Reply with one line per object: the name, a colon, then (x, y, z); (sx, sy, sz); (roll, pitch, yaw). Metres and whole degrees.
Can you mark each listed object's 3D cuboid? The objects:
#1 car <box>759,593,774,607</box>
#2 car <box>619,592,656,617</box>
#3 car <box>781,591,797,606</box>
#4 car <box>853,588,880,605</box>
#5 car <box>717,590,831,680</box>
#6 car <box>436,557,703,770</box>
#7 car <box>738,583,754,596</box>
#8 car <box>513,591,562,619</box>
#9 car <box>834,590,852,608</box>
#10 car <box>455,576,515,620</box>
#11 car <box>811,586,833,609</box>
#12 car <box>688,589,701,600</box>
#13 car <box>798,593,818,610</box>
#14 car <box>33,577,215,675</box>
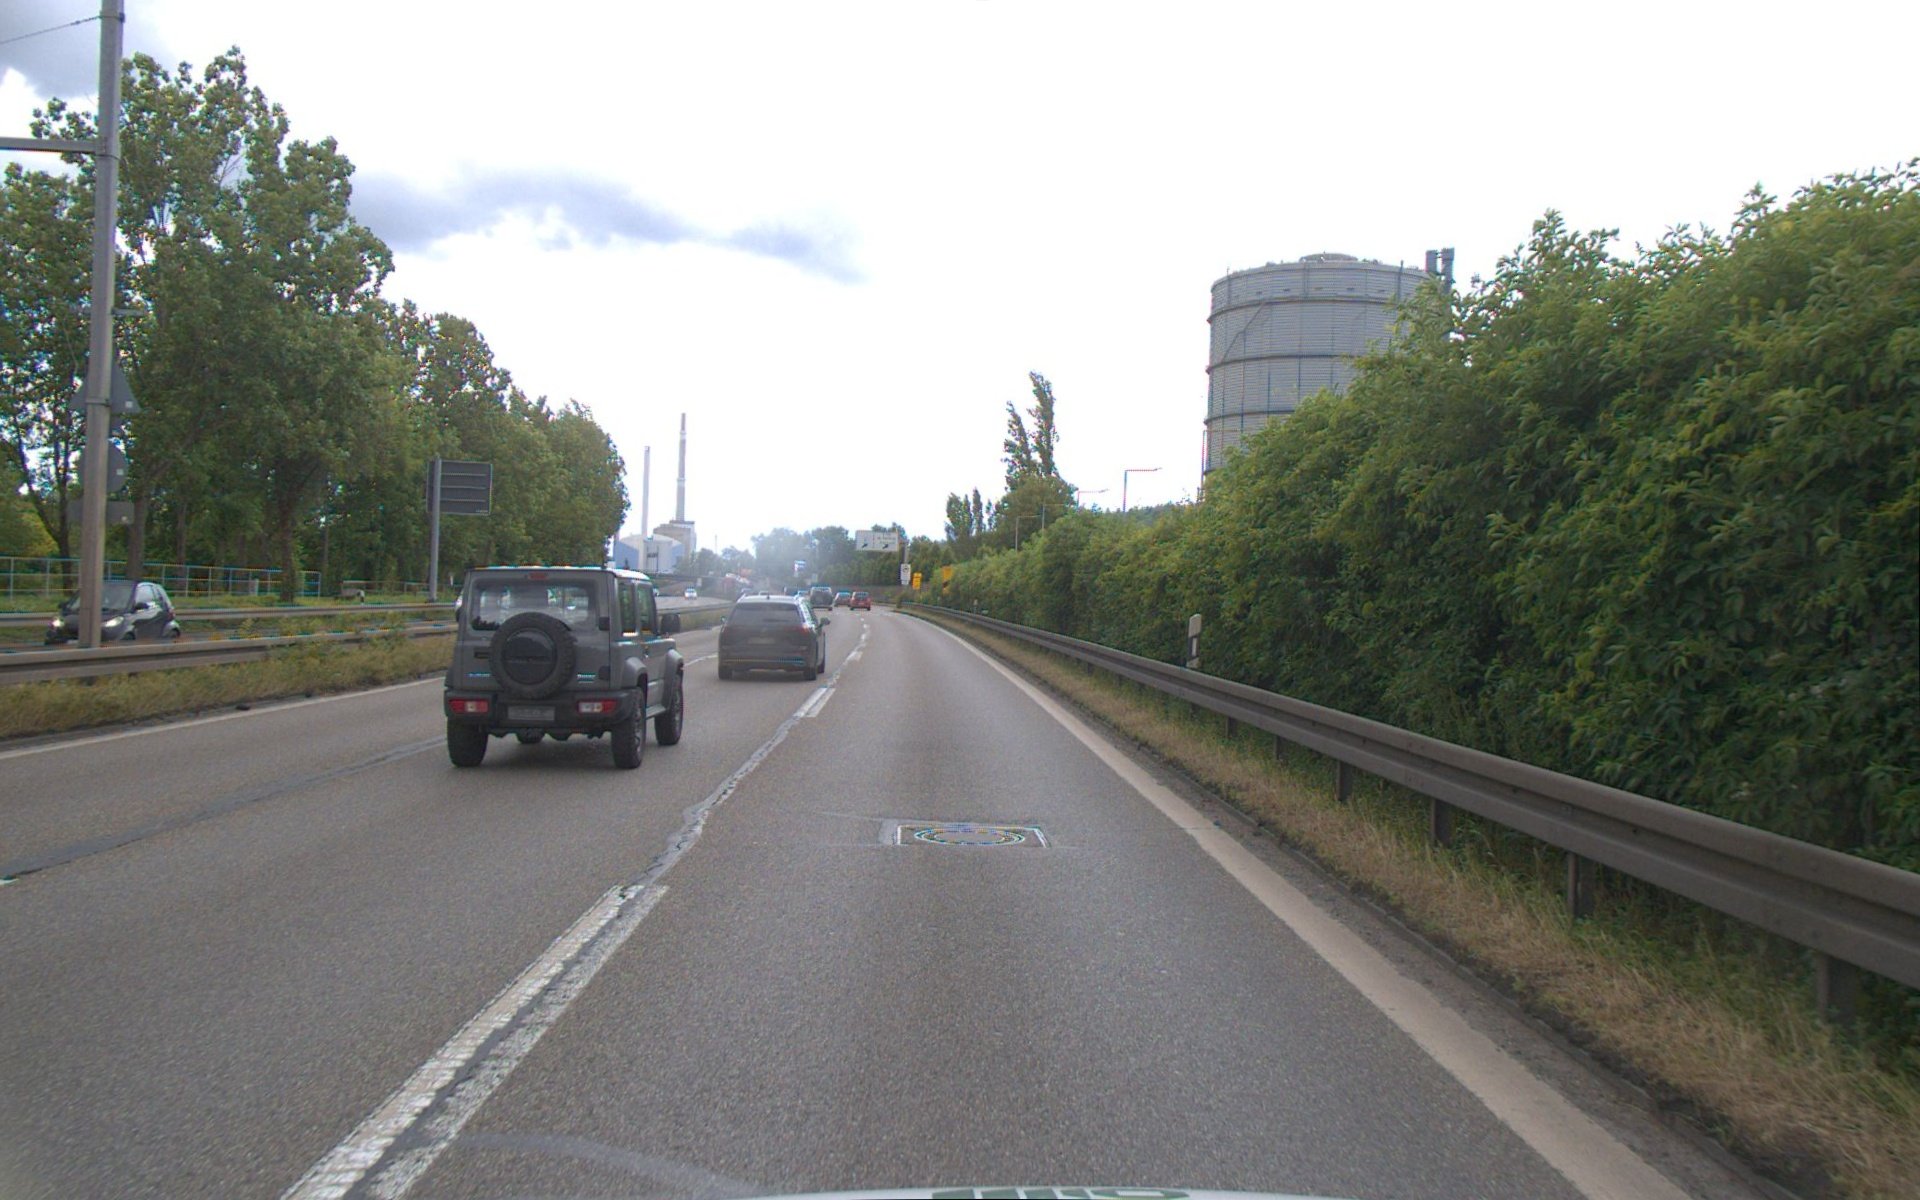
car: (-25.518, -0.038, 217.910); (1.666, 1.772, 4.383); (1, 0, -10)
car: (-19.687, 0.272, 100.941); (1.627, 1.449, 3.909); (1, 0, -3)
car: (-22.478, -0.190, 217.403); (1.975, 1.968, 4.892); (1, 0, -7)
car: (-8.055, -0.279, 142.447); (1.937, 1.448, 4.892); (1, 0, -7)
car: (-3.309, 0.581, 30.164); (1.809, 1.448, 4.896); (2, 0, -4)
car: (-3.459, 0.504, 15.344); (1.663, 1.715, 3.998); (0, 0, -2)
car: (-33.488, -1.598, 258.325); (1.978, 1.968, 4.884); (1, 0, -13)
car: (-22.832, 0.260, 89.594); (1.683, 1.490, 4.378); (1, 0, -3)
car: (-11.926, -0.141, 168.978); (1.665, 1.772, 4.387); (0, 0, -6)
car: (-21.515, -0.093, 75.050); (1.578, 1.916, 4.559); (1, 0, -3)
car: (-11.098, -0.199, 133.039); (1.665, 1.772, 3.995); (1, 0, -6)
car: (-37.954, -0.797, 236.574); (1.583, 1.410, 3.727); (2, 0, -6)
car: (-18.186, 0.147, 197.948); (1.977, 1.968, 4.888); (1, 0, -10)
car: (-16.447, 0.490, 32.744); (1.691, 1.806, 3.741); (1, 0, -1)
